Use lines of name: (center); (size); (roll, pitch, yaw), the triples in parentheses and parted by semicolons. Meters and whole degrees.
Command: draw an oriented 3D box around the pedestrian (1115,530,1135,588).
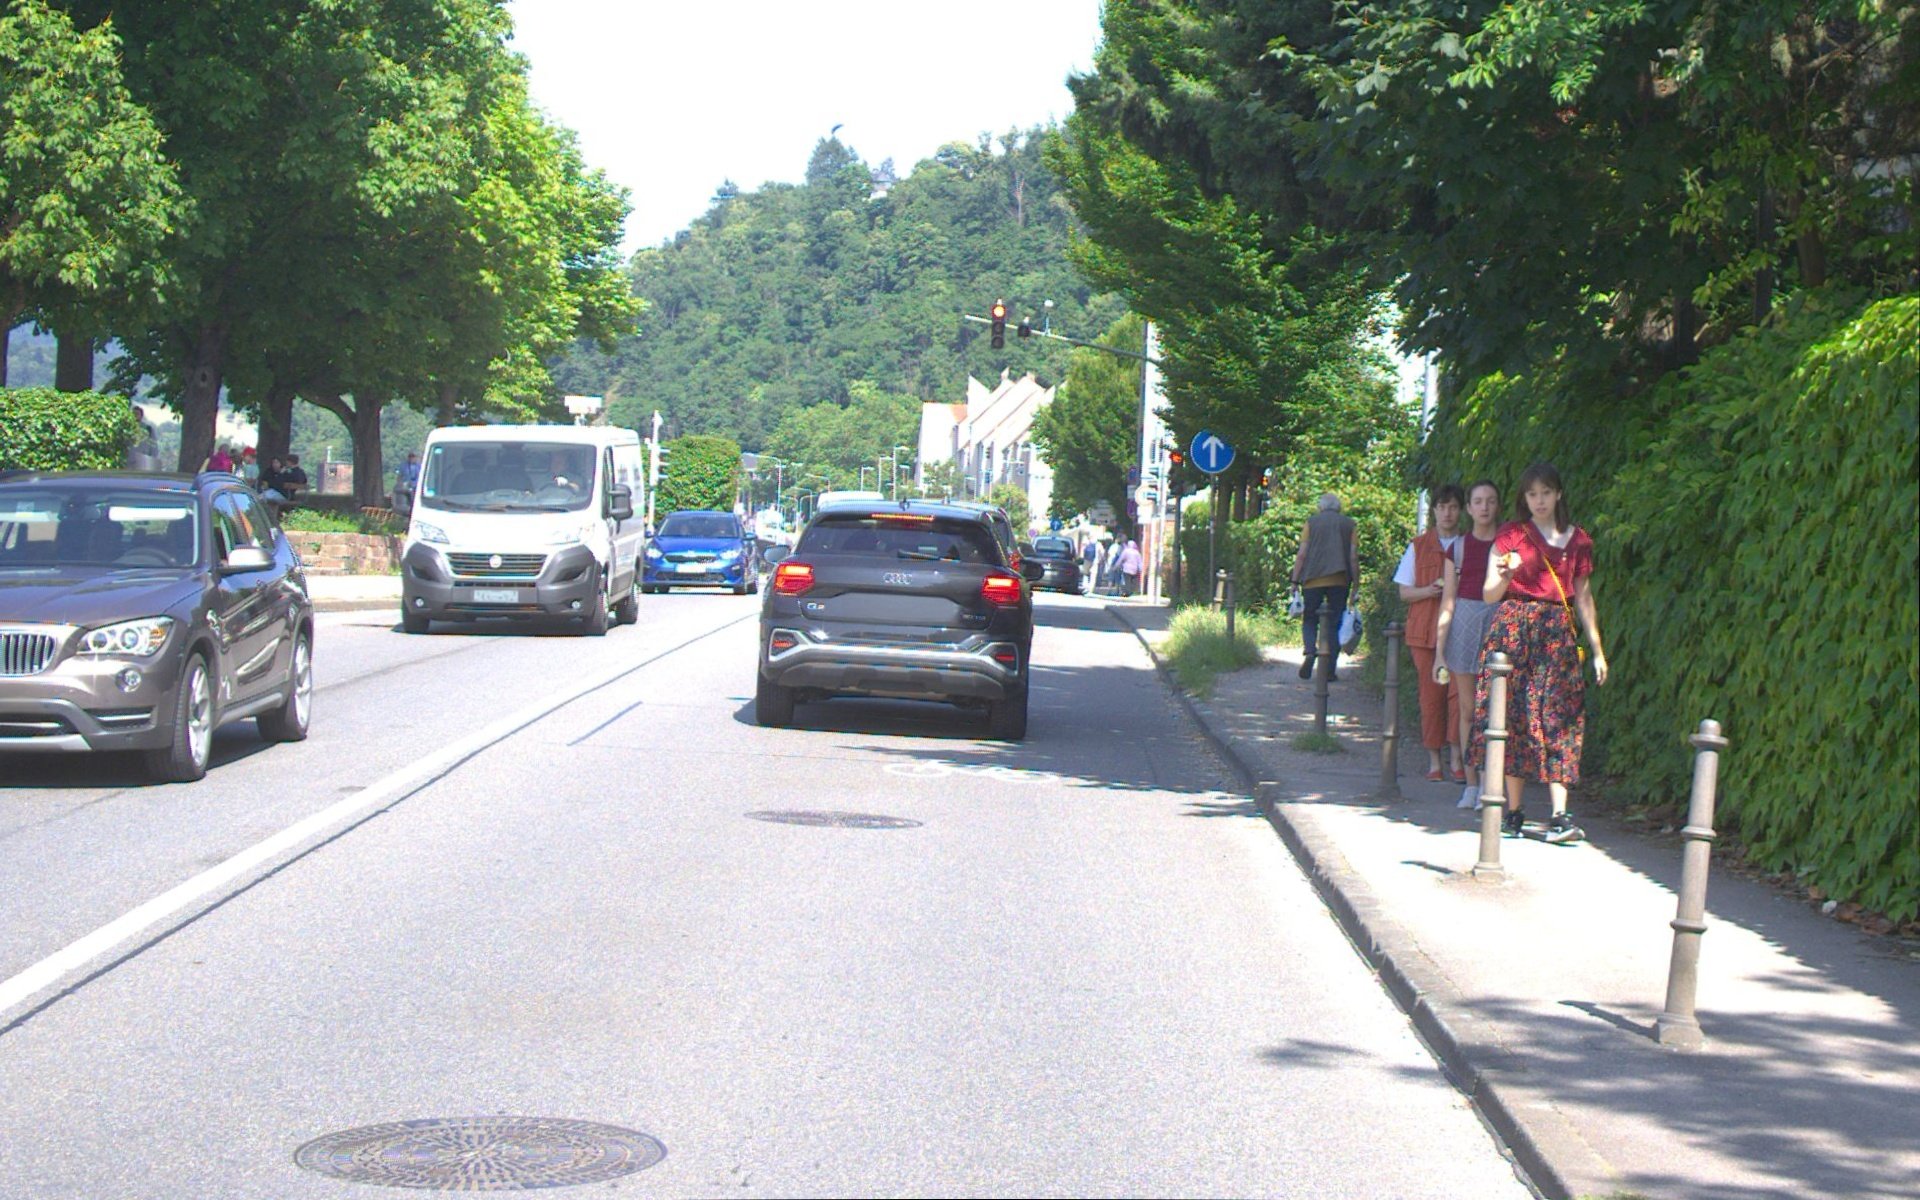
pedestrian: (4.470, -1.097, 93.079); (0.489, 1.554, 0.461); (2, 0, 1)

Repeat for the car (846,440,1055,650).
car: (-0.089, -0.627, 35.673); (1.993, 2.006, 4.001); (2, 3, 0)

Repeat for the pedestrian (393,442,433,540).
pedestrian: (-11.355, -2.259, 71.389); (0.640, 2.007, 0.730); (2, 0, 1)

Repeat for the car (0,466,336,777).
car: (-4.590, 0.018, 18.118); (1.815, 1.393, 4.347); (1, 2, 0)

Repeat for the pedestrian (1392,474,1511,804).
pedestrian: (2.432, 0.183, 17.049); (0.455, 1.600, 0.579); (2, 1, 0)

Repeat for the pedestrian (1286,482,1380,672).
pedestrian: (3.275, -0.211, 30.273); (0.728, 1.644, 0.882); (-1, 1, 1)

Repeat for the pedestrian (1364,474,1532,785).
pedestrian: (2.641, 0.140, 18.699); (0.735, 1.628, 0.920); (2, 2, 0)

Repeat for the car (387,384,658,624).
car: (-4.560, -1.058, 36.728); (2.096, 2.294, 5.869); (2, 2, 0)

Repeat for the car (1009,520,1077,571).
car: (2.563, -1.678, 106.807); (1.993, 1.448, 4.008); (2, 0, 1)

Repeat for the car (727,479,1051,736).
car: (-0.394, 0.011, 23.620); (1.857, 1.518, 4.000); (3, 1, 3)

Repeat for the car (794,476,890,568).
car: (-3.423, -2.241, 100.537); (2.494, 2.458, 5.620); (2, 0, 1)

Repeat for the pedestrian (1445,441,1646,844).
pedestrian: (2.612, 0.168, 15.421); (0.681, 1.736, 0.913); (2, 2, 0)

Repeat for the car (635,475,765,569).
car: (-4.441, -1.323, 59.263); (1.899, 1.484, 3.796); (2, 0, 0)
